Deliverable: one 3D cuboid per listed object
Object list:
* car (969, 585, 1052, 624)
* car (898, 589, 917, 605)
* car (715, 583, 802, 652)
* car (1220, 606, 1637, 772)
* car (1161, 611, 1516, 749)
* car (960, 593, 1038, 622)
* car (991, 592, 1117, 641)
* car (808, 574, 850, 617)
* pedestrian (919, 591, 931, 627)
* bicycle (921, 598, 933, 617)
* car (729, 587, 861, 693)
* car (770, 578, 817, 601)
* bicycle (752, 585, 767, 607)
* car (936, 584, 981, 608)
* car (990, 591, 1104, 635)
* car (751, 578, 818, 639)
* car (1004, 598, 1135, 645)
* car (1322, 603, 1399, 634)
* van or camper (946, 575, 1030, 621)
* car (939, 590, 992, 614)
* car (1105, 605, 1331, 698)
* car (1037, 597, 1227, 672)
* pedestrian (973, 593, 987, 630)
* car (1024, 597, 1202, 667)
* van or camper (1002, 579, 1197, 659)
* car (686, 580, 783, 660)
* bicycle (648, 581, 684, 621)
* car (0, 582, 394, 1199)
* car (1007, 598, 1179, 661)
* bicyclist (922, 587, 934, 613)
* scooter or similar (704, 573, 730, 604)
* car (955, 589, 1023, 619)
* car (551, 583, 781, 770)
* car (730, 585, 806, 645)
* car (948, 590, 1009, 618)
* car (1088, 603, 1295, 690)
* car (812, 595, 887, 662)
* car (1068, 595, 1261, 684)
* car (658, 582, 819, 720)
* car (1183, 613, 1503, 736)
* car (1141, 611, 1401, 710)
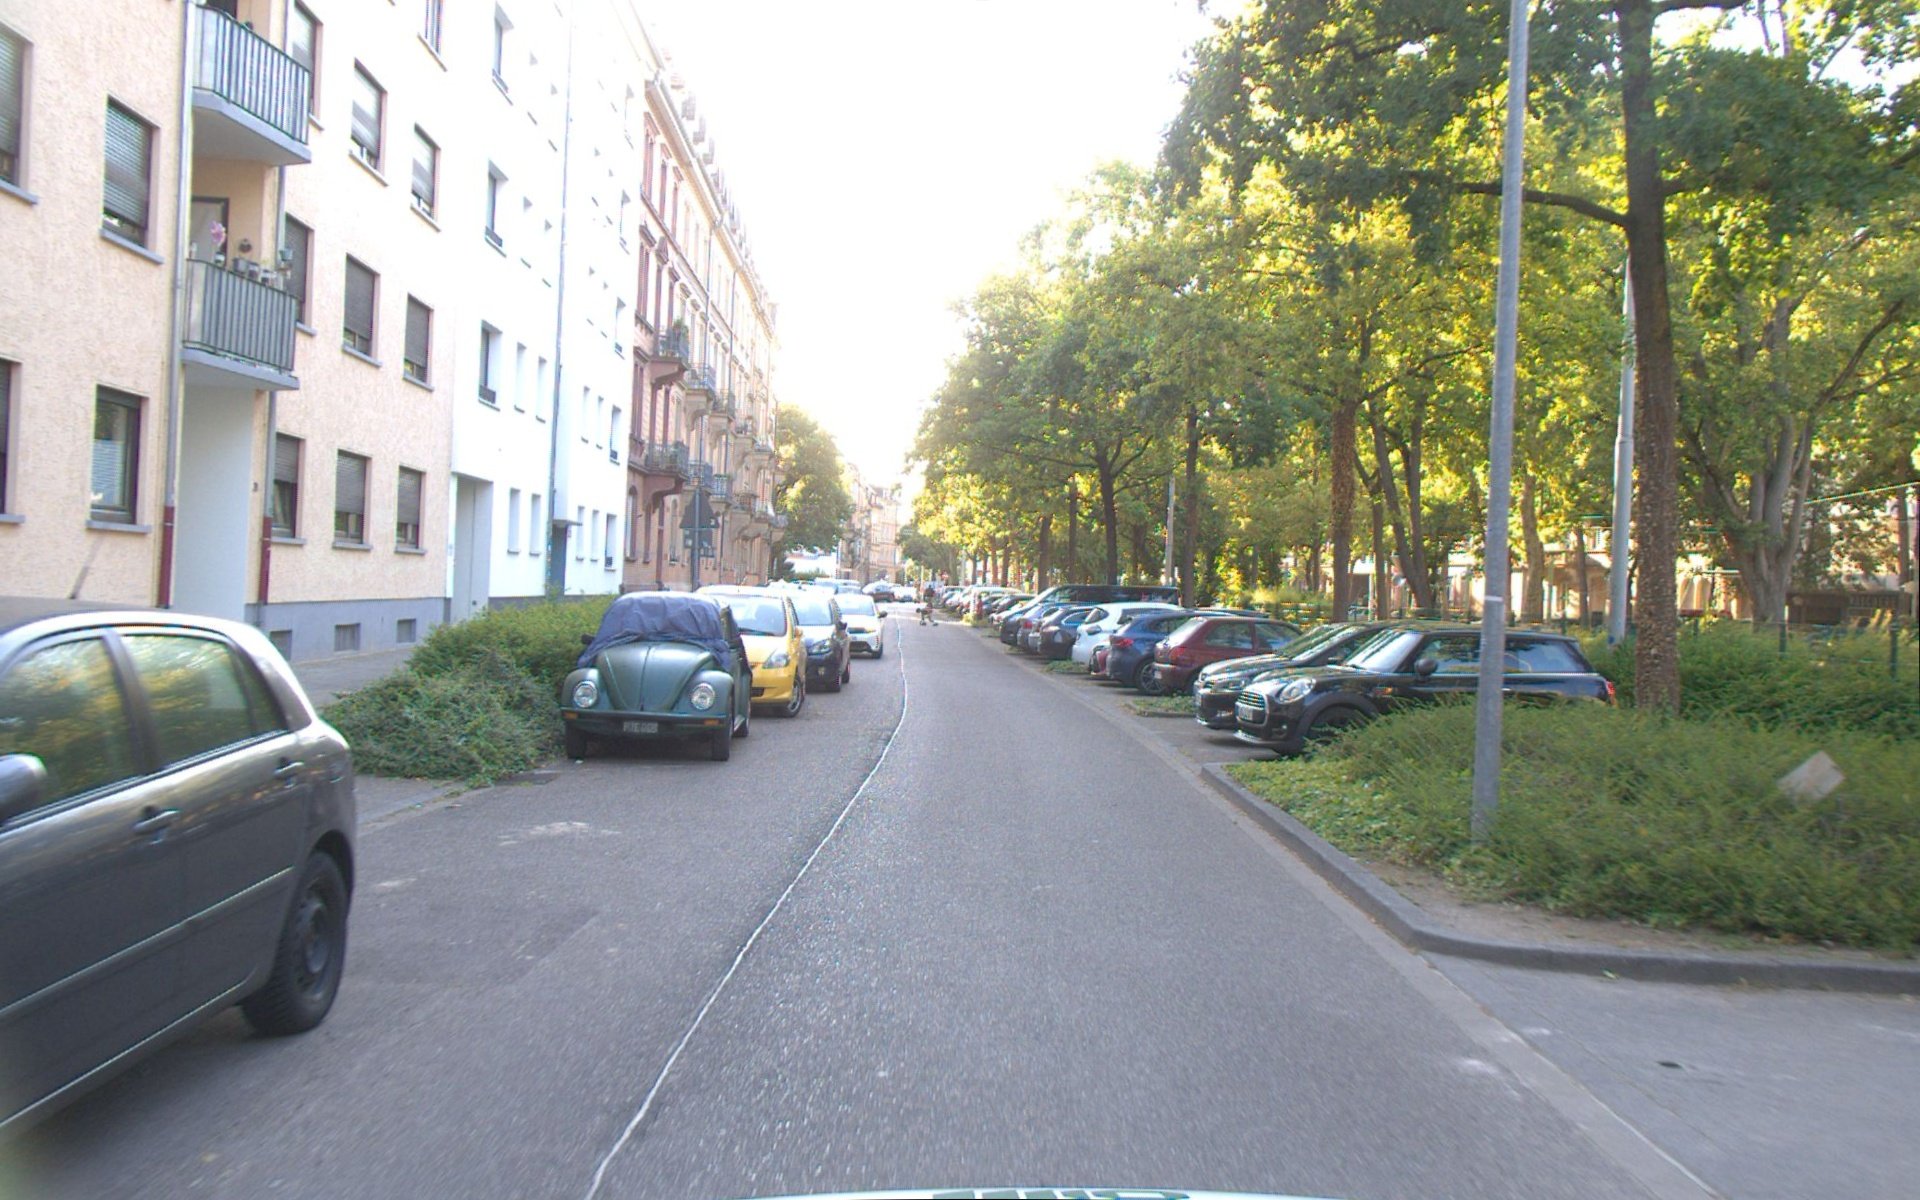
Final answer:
[{"bbox_3d":[2.570,0.240,84.358,4.134,1.896,1.761,1,0,-1],"label":"car"},{"bbox_3d":[-4.886,-0.275,153.852,1.635,1.489,3.998,1,0,-3],"label":"car"},{"bbox_3d":[-5.056,0.420,41.960,1.635,1.496,4.283,6,0,-2],"label":"car"},{"bbox_3d":[4.654,0.876,16.691,3.709,1.498,1.633,2,-1,-6],"label":"car"},{"bbox_3d":[4.330,0.914,19.320,3.705,1.426,1.827,2,-1,-1],"label":"car"},{"bbox_3d":[2.090,0.403,88.789,4.132,1.478,1.649,1,0,2],"label":"car"},{"bbox_3d":[3.342,0.594,59.212,4.311,1.619,1.836,2,0,-3],"label":"car"},{"bbox_3d":[-6.821,-0.200,86.321,1.954,1.954,5.036,4,-1,-3],"label":"car"},{"bbox_3d":[-1.590,0.408,75.086,0.372,1.612,0.519,3,2,17],"label":"pedestrian"},{"bbox_3d":[-2.090,0.502,105.212,0.628,1.119,1.942,3,-2,-3],"label":"bicycle"},{"bbox_3d":[-2.533,0.582,26.165,1.704,1.505,3.999,1,0,-1],"label":"car"},{"bbox_3d":[-14.853,-0.905,147.350,3.907,1.736,1.999,4,-2,-1],"label":"car"},{"bbox_3d":[-11.592,-0.233,95.692,0.691,1.167,1.887,4,-2,-5],"label":"bicycle"},{"bbox_3d":[-0.150,-0.360,157.503,3.902,2.049,2.001,3,-2,9],"label":"car"},{"bbox_3d":[3.490,0.527,66.599,4.316,1.619,1.835,2,0,-7],"label":"car"},{"bbox_3d":[-5.451,0.237,51.796,1.717,1.735,4.198,3,0,-3],"label":"car"},{"bbox_3d":[3.704,0.718,56.468,4.309,1.465,1.837,2,0,0],"label":"car"},{"bbox_3d":[26.147,1.199,107.956,4.604,1.713,2.000,3,-2,21],"label":"car"},{"bbox_3d":[1.694,-0.101,101.311,4.884,2.418,2.183,4,-2,-4],"label":"van or camper"},{"bbox_3d":[0.407,0.186,128.878,3.910,1.590,1.857,4,-2,-5],"label":"car"},{"bbox_3d":[4.434,0.888,28.812,3.703,1.472,1.665,2,-1,3],"label":"car"},{"bbox_3d":[3.996,0.808,38.914,4.307,1.605,1.665,2,-1,3],"label":"car"},{"bbox_3d":[0.859,0.508,70.880,0.372,1.543,0.519,3,2,17],"label":"pedestrian"},{"bbox_3d":[3.815,0.801,41.788,4.309,1.605,1.664,2,-1,0],"label":"car"},{"bbox_3d":[3.877,0.507,46.763,5.303,2.062,2.029,2,1,0],"label":"van or camper"},{"bbox_3d":[-4.966,0.409,36.858,1.635,1.534,3.998,6,0,-3],"label":"car"},{"bbox_3d":[-9.693,0.011,54.650,0.722,1.227,2.513,3,1,-1],"label":"bicycle"},{"bbox_3d":[-2.880,0.714,4.193,1.603,1.492,3.999,0,0,-2],"label":"car"},{"bbox_3d":[3.534,0.803,44.366,4.314,1.527,1.835,2,-1,-5],"label":"car"},{"bbox_3d":[-2.055,-0.002,105.188,0.615,1.600,0.801,3,-2,-4],"label":"bicyclist"},{"bbox_3d":[-10.646,-0.500,72.652,0.768,1.243,2.702,3,-1,-2],"label":"scooter or similar"},{"bbox_3d":[1.706,0.222,97.164,3.906,1.721,1.859,1,0,-1],"label":"car"},{"bbox_3d":[-2.727,0.651,16.063,1.535,1.544,3.782,2,0,-1],"label":"car"},{"bbox_3d":[-5.356,0.392,46.511,1.583,1.477,4.000,4,0,0],"label":"car"},{"bbox_3d":[1.218,0.265,111.290,3.910,1.575,1.857,4,-2,-5],"label":"car"},{"bbox_3d":[4.364,0.880,31.564,3.704,1.499,1.664,2,-1,0],"label":"car"},{"bbox_3d":[-2.633,0.649,40.113,1.634,1.455,3.999,0,1,-2],"label":"car"},{"bbox_3d":[4.183,0.812,34.179,3.706,1.675,1.663,2,-1,-2],"label":"car"},{"bbox_3d":[-2.746,0.594,21.233,1.668,1.552,3.771,2,0,-3],"label":"car"},{"bbox_3d":[4.897,0.944,21.442,3.706,1.426,1.663,2,-1,-3],"label":"car"},{"bbox_3d":[4.911,0.949,26.373,3.709,1.426,1.764,2,-1,-6],"label":"car"}]
